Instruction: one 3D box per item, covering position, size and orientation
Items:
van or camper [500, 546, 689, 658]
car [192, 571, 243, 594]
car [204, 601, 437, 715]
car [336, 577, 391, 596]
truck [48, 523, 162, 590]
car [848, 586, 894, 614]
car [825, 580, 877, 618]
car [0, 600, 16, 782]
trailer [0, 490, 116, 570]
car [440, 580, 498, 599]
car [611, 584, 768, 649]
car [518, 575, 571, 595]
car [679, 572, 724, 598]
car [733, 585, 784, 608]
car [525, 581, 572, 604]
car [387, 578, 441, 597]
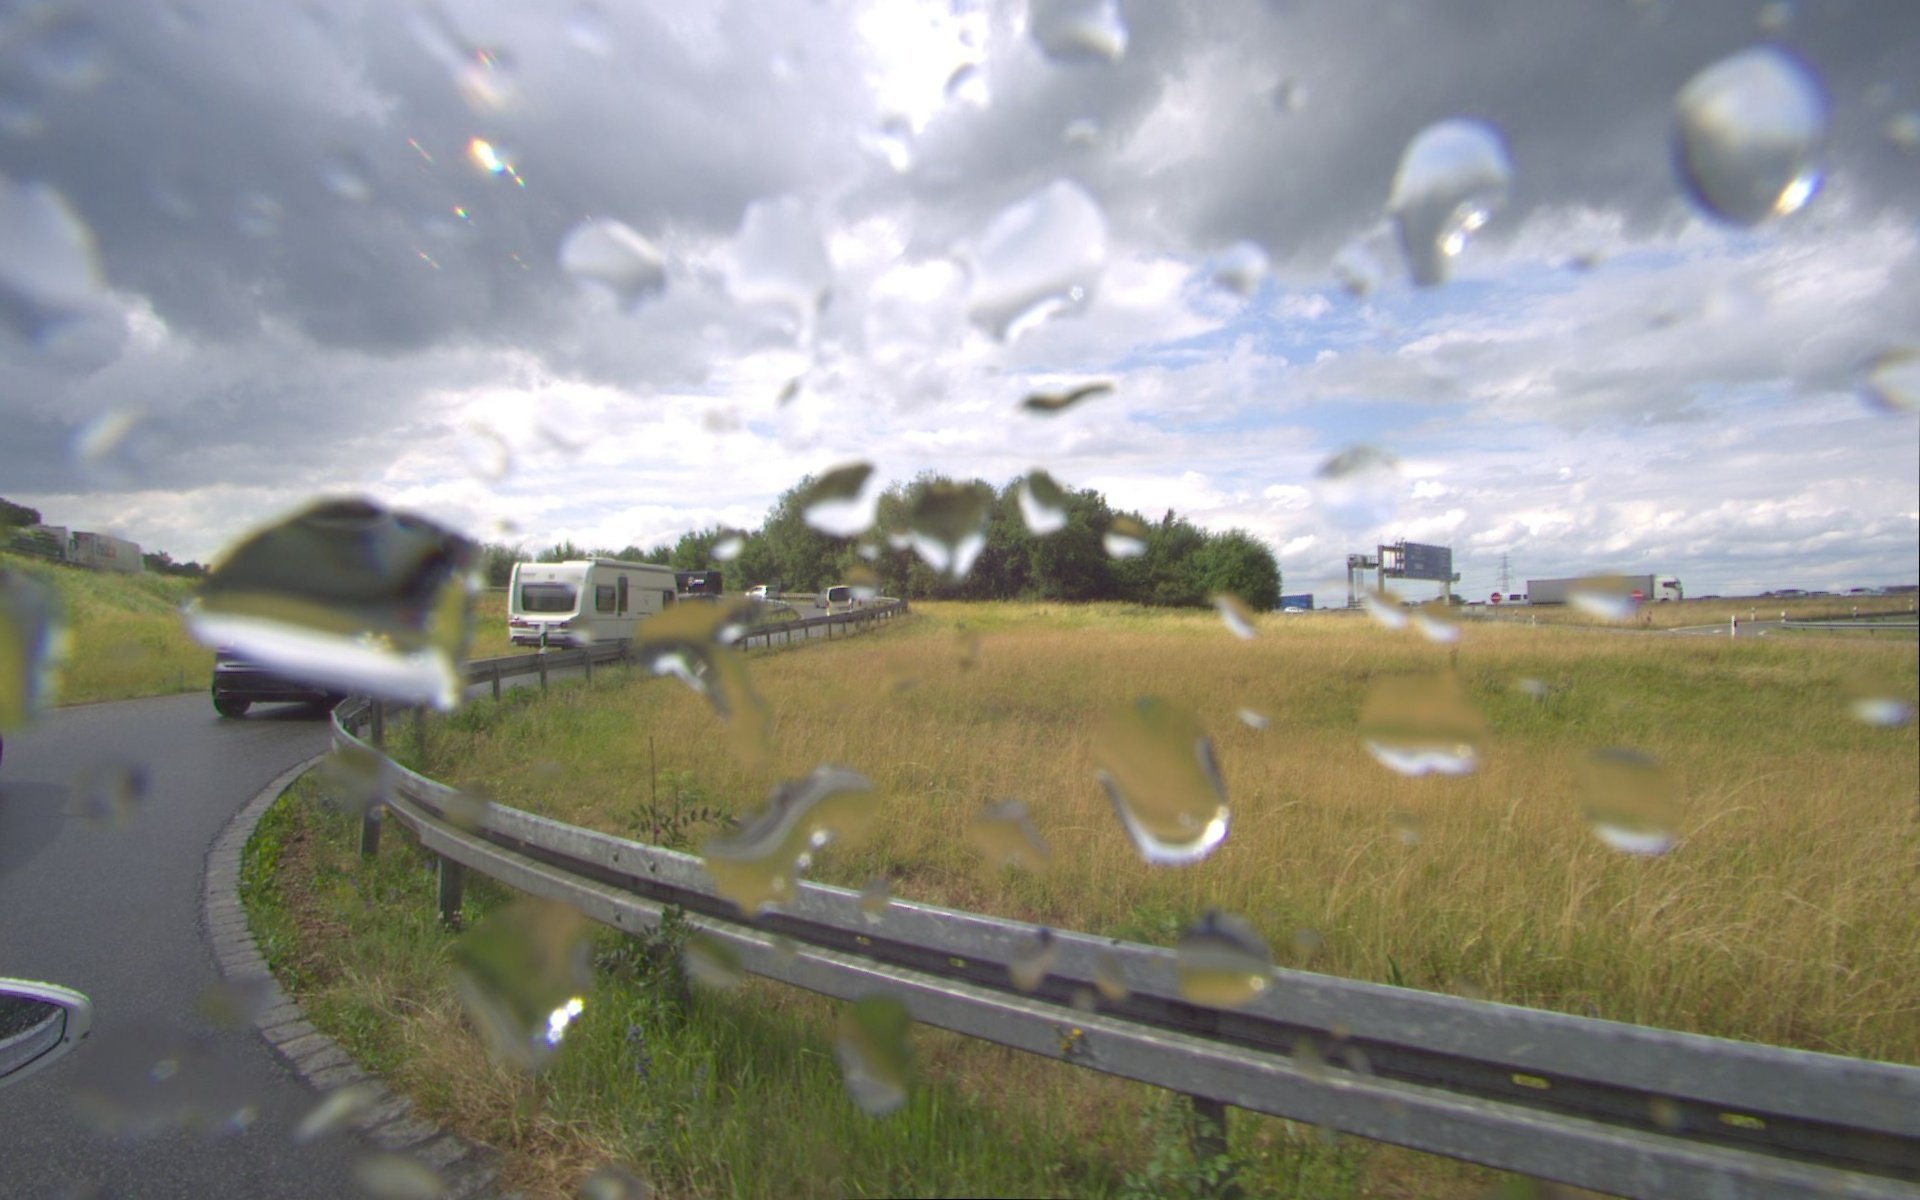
[{"bbox_3d":[-10.008,0.078,28.170,2.391,2.765,6.000,1,0,8],"label":"van or camper"},{"bbox_3d":[-73.708,-1.690,99.476,3.950,2.038,1.815,2,-3,-35],"label":"car"},{"bbox_3d":[-9.743,0.822,15.647,1.691,1.545,3.997,1,-1,-11],"label":"car"},{"bbox_3d":[-63.299,-1.383,106.273,4.963,1.885,1.999,-1,-1,13],"label":"car"},{"bbox_3d":[-81.379,-3.897,95.956,4.410,4.558,19.293,1,-3,-29],"label":"truck"},{"bbox_3d":[-6.279,0.040,69.912,1.966,1.885,5.046,0,-1,-20],"label":"car"},{"bbox_3d":[-5.646,-0.006,52.411,1.961,1.885,5.058,-1,-1,3],"label":"car"},{"bbox_3d":[-7.903,0.722,6.373,1.896,1.527,4.569,1,-1,-32],"label":"car"},{"bbox_3d":[-71.926,-5.195,78.908,4.363,4.004,20.132,1,-3,-29],"label":"trailer"},{"bbox_3d":[-49.934,-1.048,101.959,4.959,1.886,2.000,-1,-1,4],"label":"car"},{"bbox_3d":[-8.866,0.540,33.546,2.392,1.951,5.752,1,0,17],"label":"car"},{"bbox_3d":[-41.849,-1.458,100.900,4.971,1.885,1.995,-1,-1,22],"label":"car"},{"bbox_3d":[-23.579,-1.354,91.193,3.952,2.038,1.986,-2,-3,39],"label":"car"},{"bbox_3d":[-17.180,-0.286,85.229,5.002,1.807,1.651,-1,-1,43],"label":"car"},{"bbox_3d":[-41.239,-0.742,100.413,3.926,2.039,1.999,-2,-1,13],"label":"car"},{"bbox_3d":[-56.181,-1.268,103.144,4.423,1.886,2.000,0,-1,-3],"label":"car"}]
